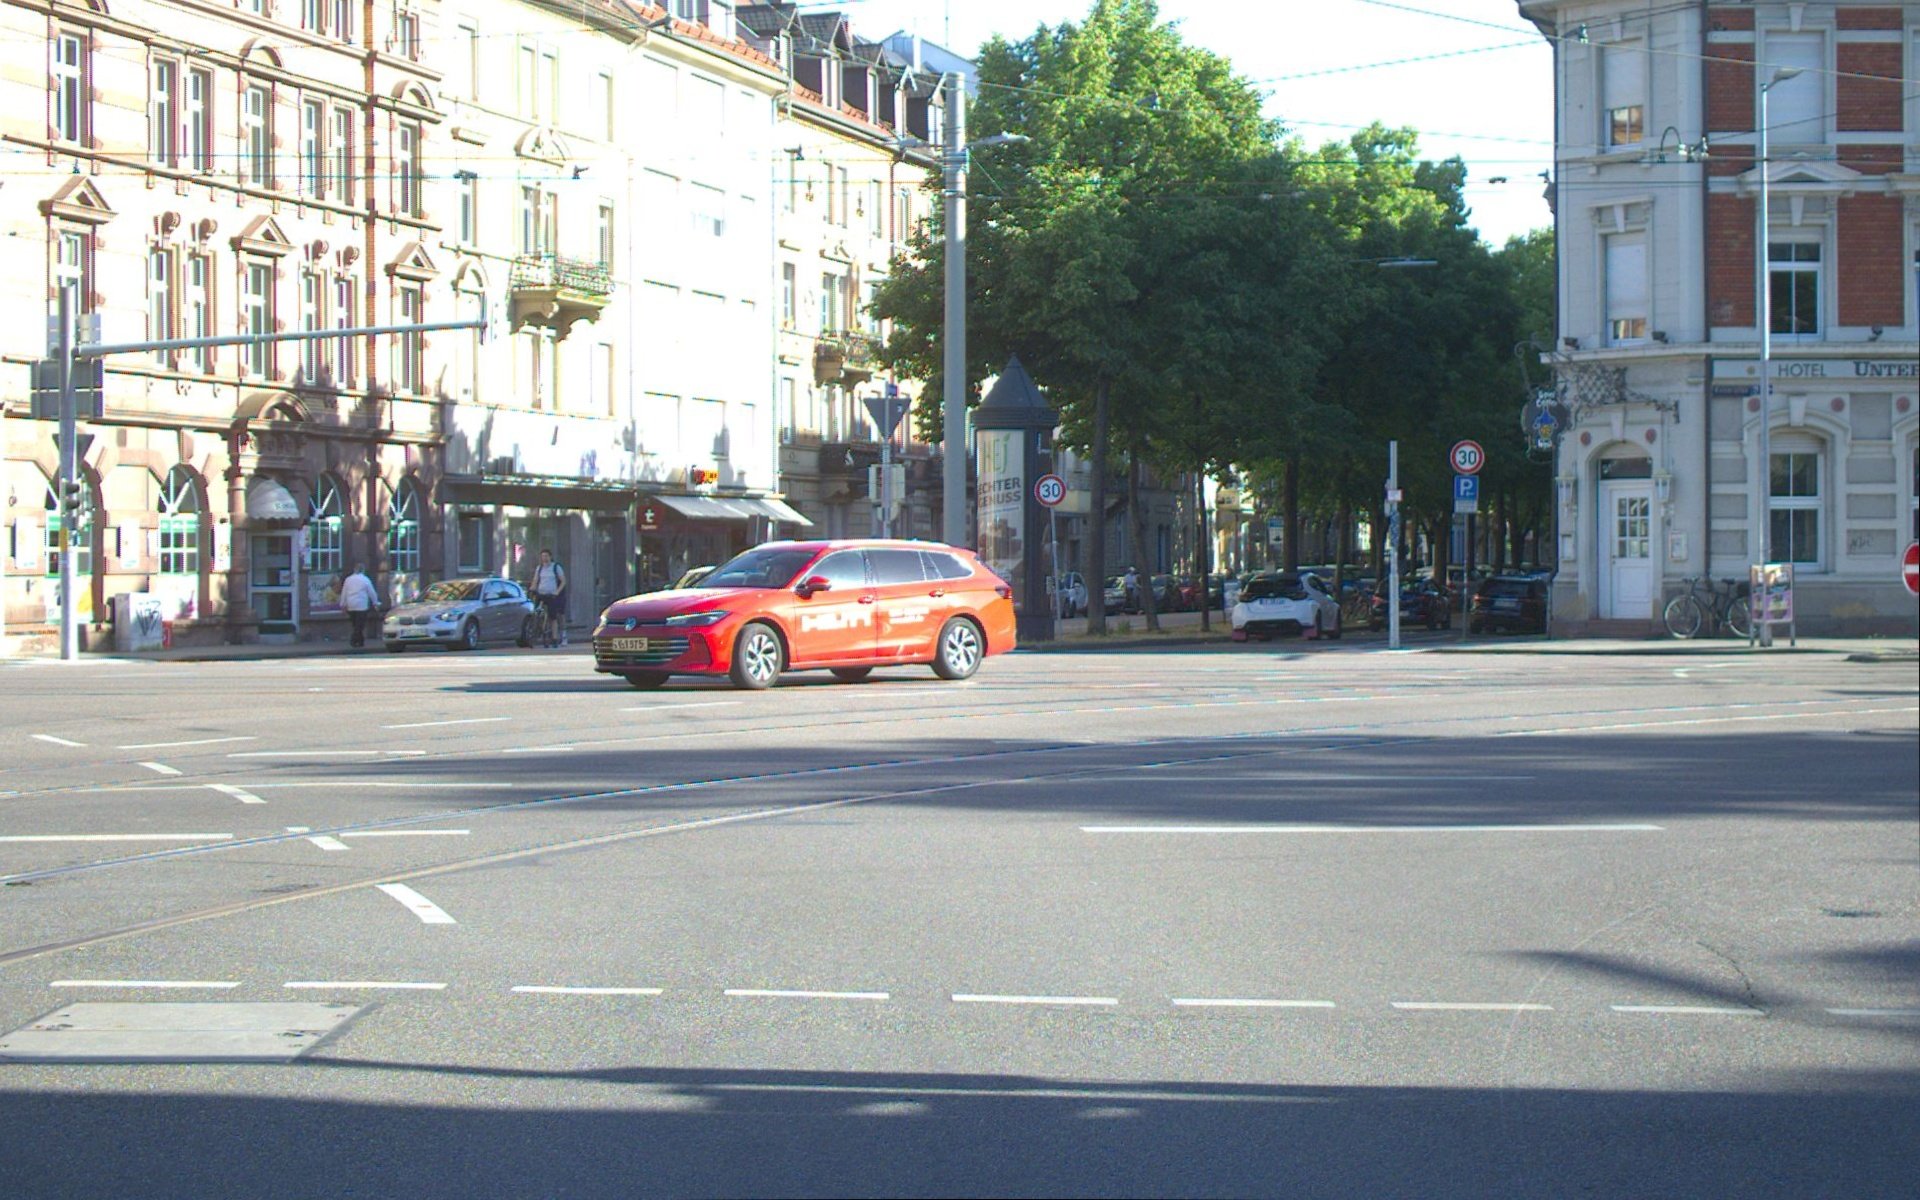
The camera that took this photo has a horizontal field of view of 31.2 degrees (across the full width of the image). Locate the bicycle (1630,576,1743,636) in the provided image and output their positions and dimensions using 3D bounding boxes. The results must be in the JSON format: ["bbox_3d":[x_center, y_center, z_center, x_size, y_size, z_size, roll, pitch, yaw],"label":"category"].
[{"bbox_3d":[12.073,0.102,57.117,1.804,0.959,0.603,1,0,14],"label":"bicycle"}]

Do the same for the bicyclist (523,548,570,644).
[{"bbox_3d":[-7.832,-0.079,65.145,0.565,1.797,0.913,1,0,15],"label":"bicyclist"}]

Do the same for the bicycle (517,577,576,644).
[{"bbox_3d":[-7.829,0.193,65.140,0.565,1.250,1.556,1,0,14],"label":"bicycle"}]

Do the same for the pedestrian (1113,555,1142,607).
[{"bbox_3d":[5.747,-0.657,117.950,0.709,1.784,0.697,1,0,-36],"label":"pedestrian"}]

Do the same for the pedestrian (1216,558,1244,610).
[{"bbox_3d":[10.363,-0.617,132.003,0.753,2.007,0.998,1,0,24],"label":"pedestrian"}]

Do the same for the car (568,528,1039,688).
[{"bbox_3d":[-1.524,0.025,35.111,4.861,1.464,1.802,-2,3,-45],"label":"car"}]

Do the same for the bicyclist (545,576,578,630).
[{"bbox_3d":[-7.803,0.057,67.371,0.473,1.036,0.537,1,0,15],"label":"bicyclist"}]

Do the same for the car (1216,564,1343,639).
[{"bbox_3d":[6.793,0.018,72.709,1.894,1.449,4.005,0,2,17],"label":"car"}]

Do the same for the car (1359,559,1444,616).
[{"bbox_3d":[11.338,-0.332,88.077,1.826,1.398,3.998,0,1,12],"label":"car"}]

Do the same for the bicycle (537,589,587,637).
[{"bbox_3d":[-7.797,0.257,67.392,0.473,0.919,1.451,1,1,14],"label":"bicycle"}]

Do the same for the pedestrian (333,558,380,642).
[{"bbox_3d":[-11.925,-0.007,67.929,0.568,1.636,0.792,1,0,23],"label":"pedestrian"}]

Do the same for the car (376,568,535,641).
[{"bbox_3d":[-9.791,0.071,67.008,1.661,1.369,3.889,1,1,15],"label":"car"}]

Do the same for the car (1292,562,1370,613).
[{"bbox_3d":[12.591,-0.421,116.469,1.995,1.678,3.997,1,1,15],"label":"car"}]

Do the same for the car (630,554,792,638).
[{"bbox_3d":[-4.833,-0.089,67.277,1.804,1.579,4.156,1,1,17],"label":"car"}]

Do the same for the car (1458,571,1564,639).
[{"bbox_3d":[13.249,0.102,82.529,1.758,1.550,3.996,1,1,20],"label":"car"}]
